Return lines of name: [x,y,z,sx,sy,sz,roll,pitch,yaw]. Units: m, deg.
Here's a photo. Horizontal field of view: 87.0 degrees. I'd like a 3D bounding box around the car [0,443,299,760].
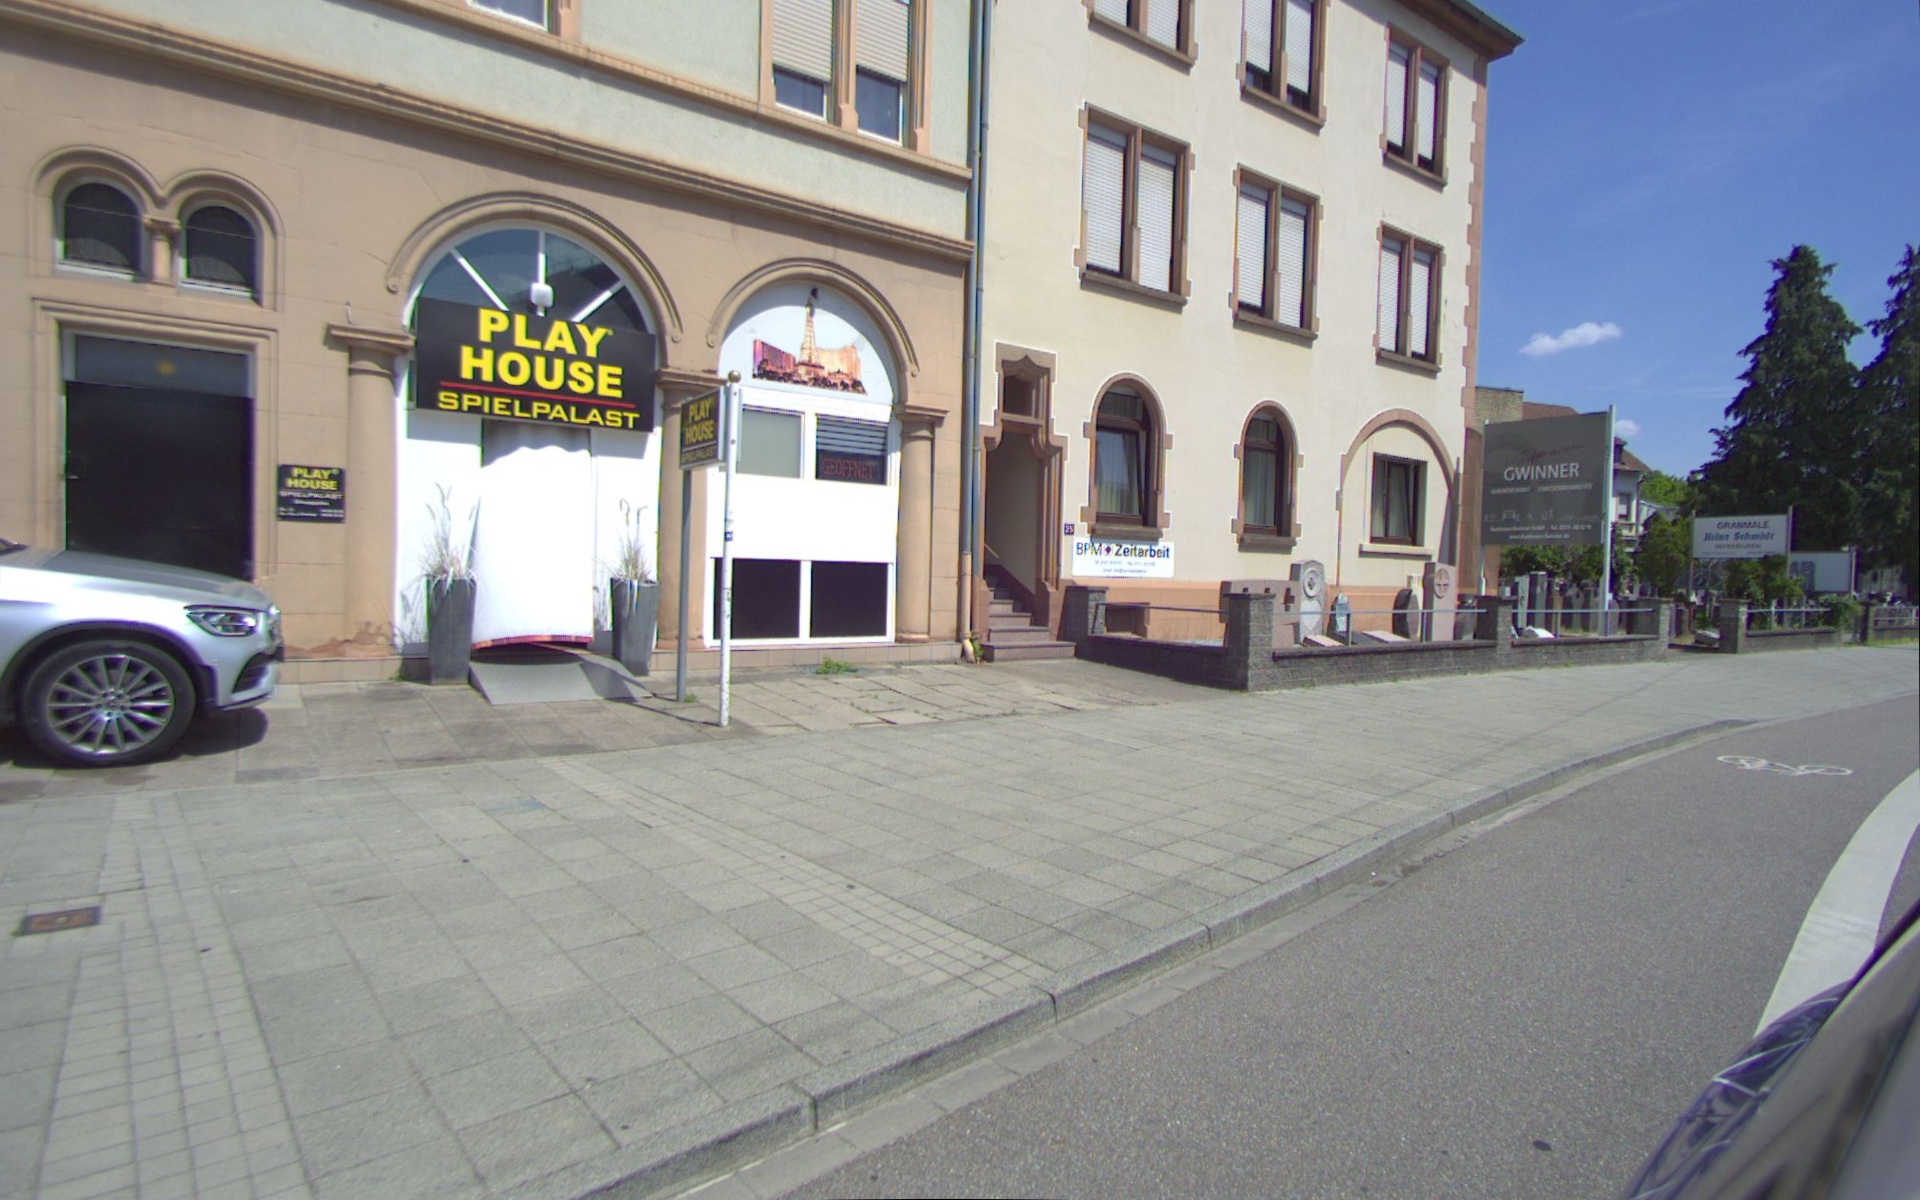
car: [-6.301,-0.067,5.393,4.553,1.643,1.885,0,5,-37]
